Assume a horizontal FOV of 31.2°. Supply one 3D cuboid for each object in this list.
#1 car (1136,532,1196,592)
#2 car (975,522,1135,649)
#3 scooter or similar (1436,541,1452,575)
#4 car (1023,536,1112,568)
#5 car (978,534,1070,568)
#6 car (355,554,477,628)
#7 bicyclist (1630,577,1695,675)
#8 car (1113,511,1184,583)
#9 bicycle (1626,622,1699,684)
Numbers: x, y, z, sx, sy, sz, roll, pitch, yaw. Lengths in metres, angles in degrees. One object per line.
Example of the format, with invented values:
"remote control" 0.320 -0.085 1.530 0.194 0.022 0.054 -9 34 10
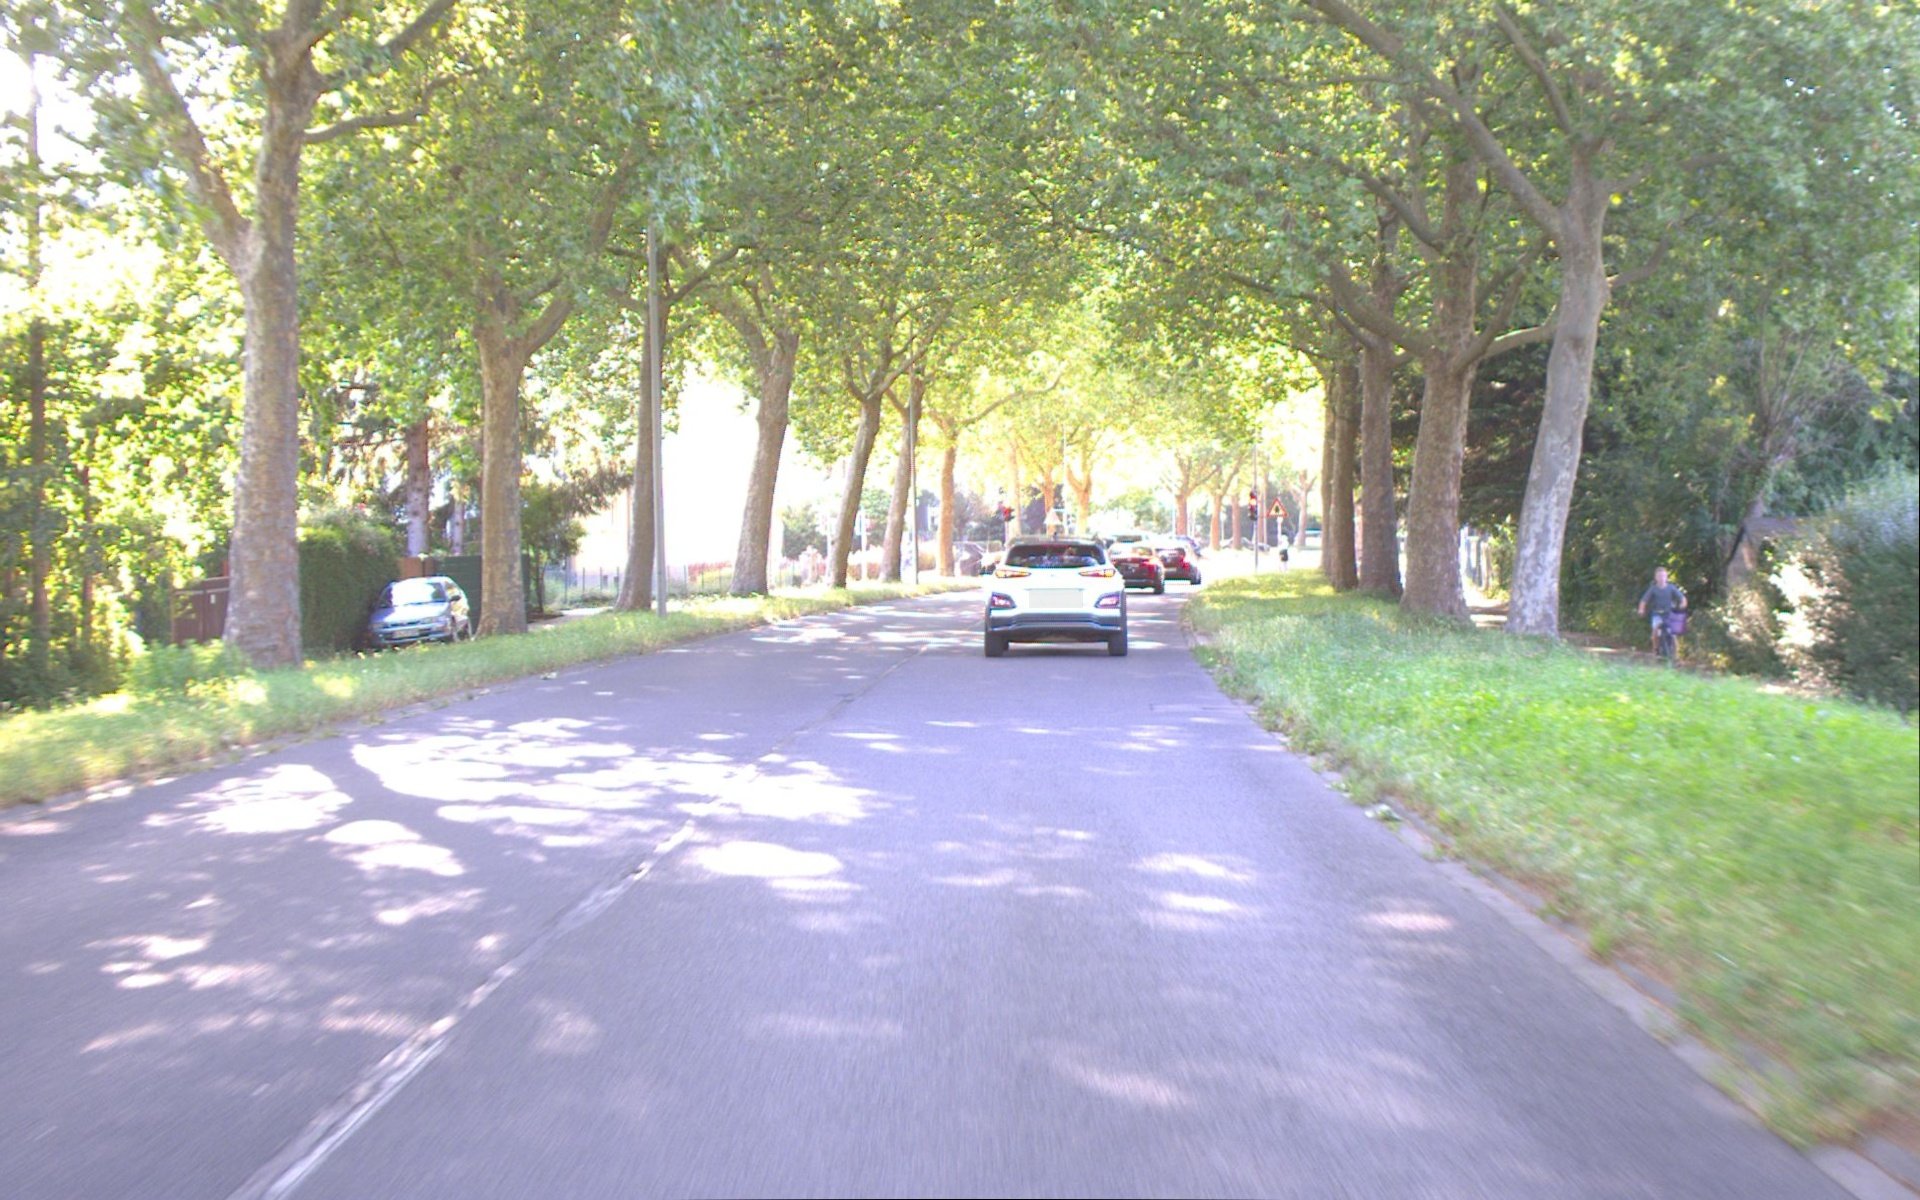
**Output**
"car" 7.090 -1.316 118.412 1.994 2.007 4.000 0 0 3
"car" 1.272 -0.202 44.888 1.994 1.569 4.000 0 1 3
"scooter or similar" 17.975 -1.545 127.630 0.549 1.254 2.312 0 0 7
"car" 5.171 -2.290 164.793 3.989 1.473 1.999 1 0 10
"car" 2.888 -2.214 154.741 3.988 1.473 1.999 1 0 7
"car" -10.782 -0.198 68.340 1.752 1.300 4.000 -1 2 0
"bicyclist" 9.890 0.360 48.410 0.734 1.361 0.771 0 0 -2
"car" 5.423 -1.517 99.197 1.994 2.007 4.000 0 0 3
"bicycle" 9.887 0.740 48.450 0.552 0.814 1.889 0 0 -3
